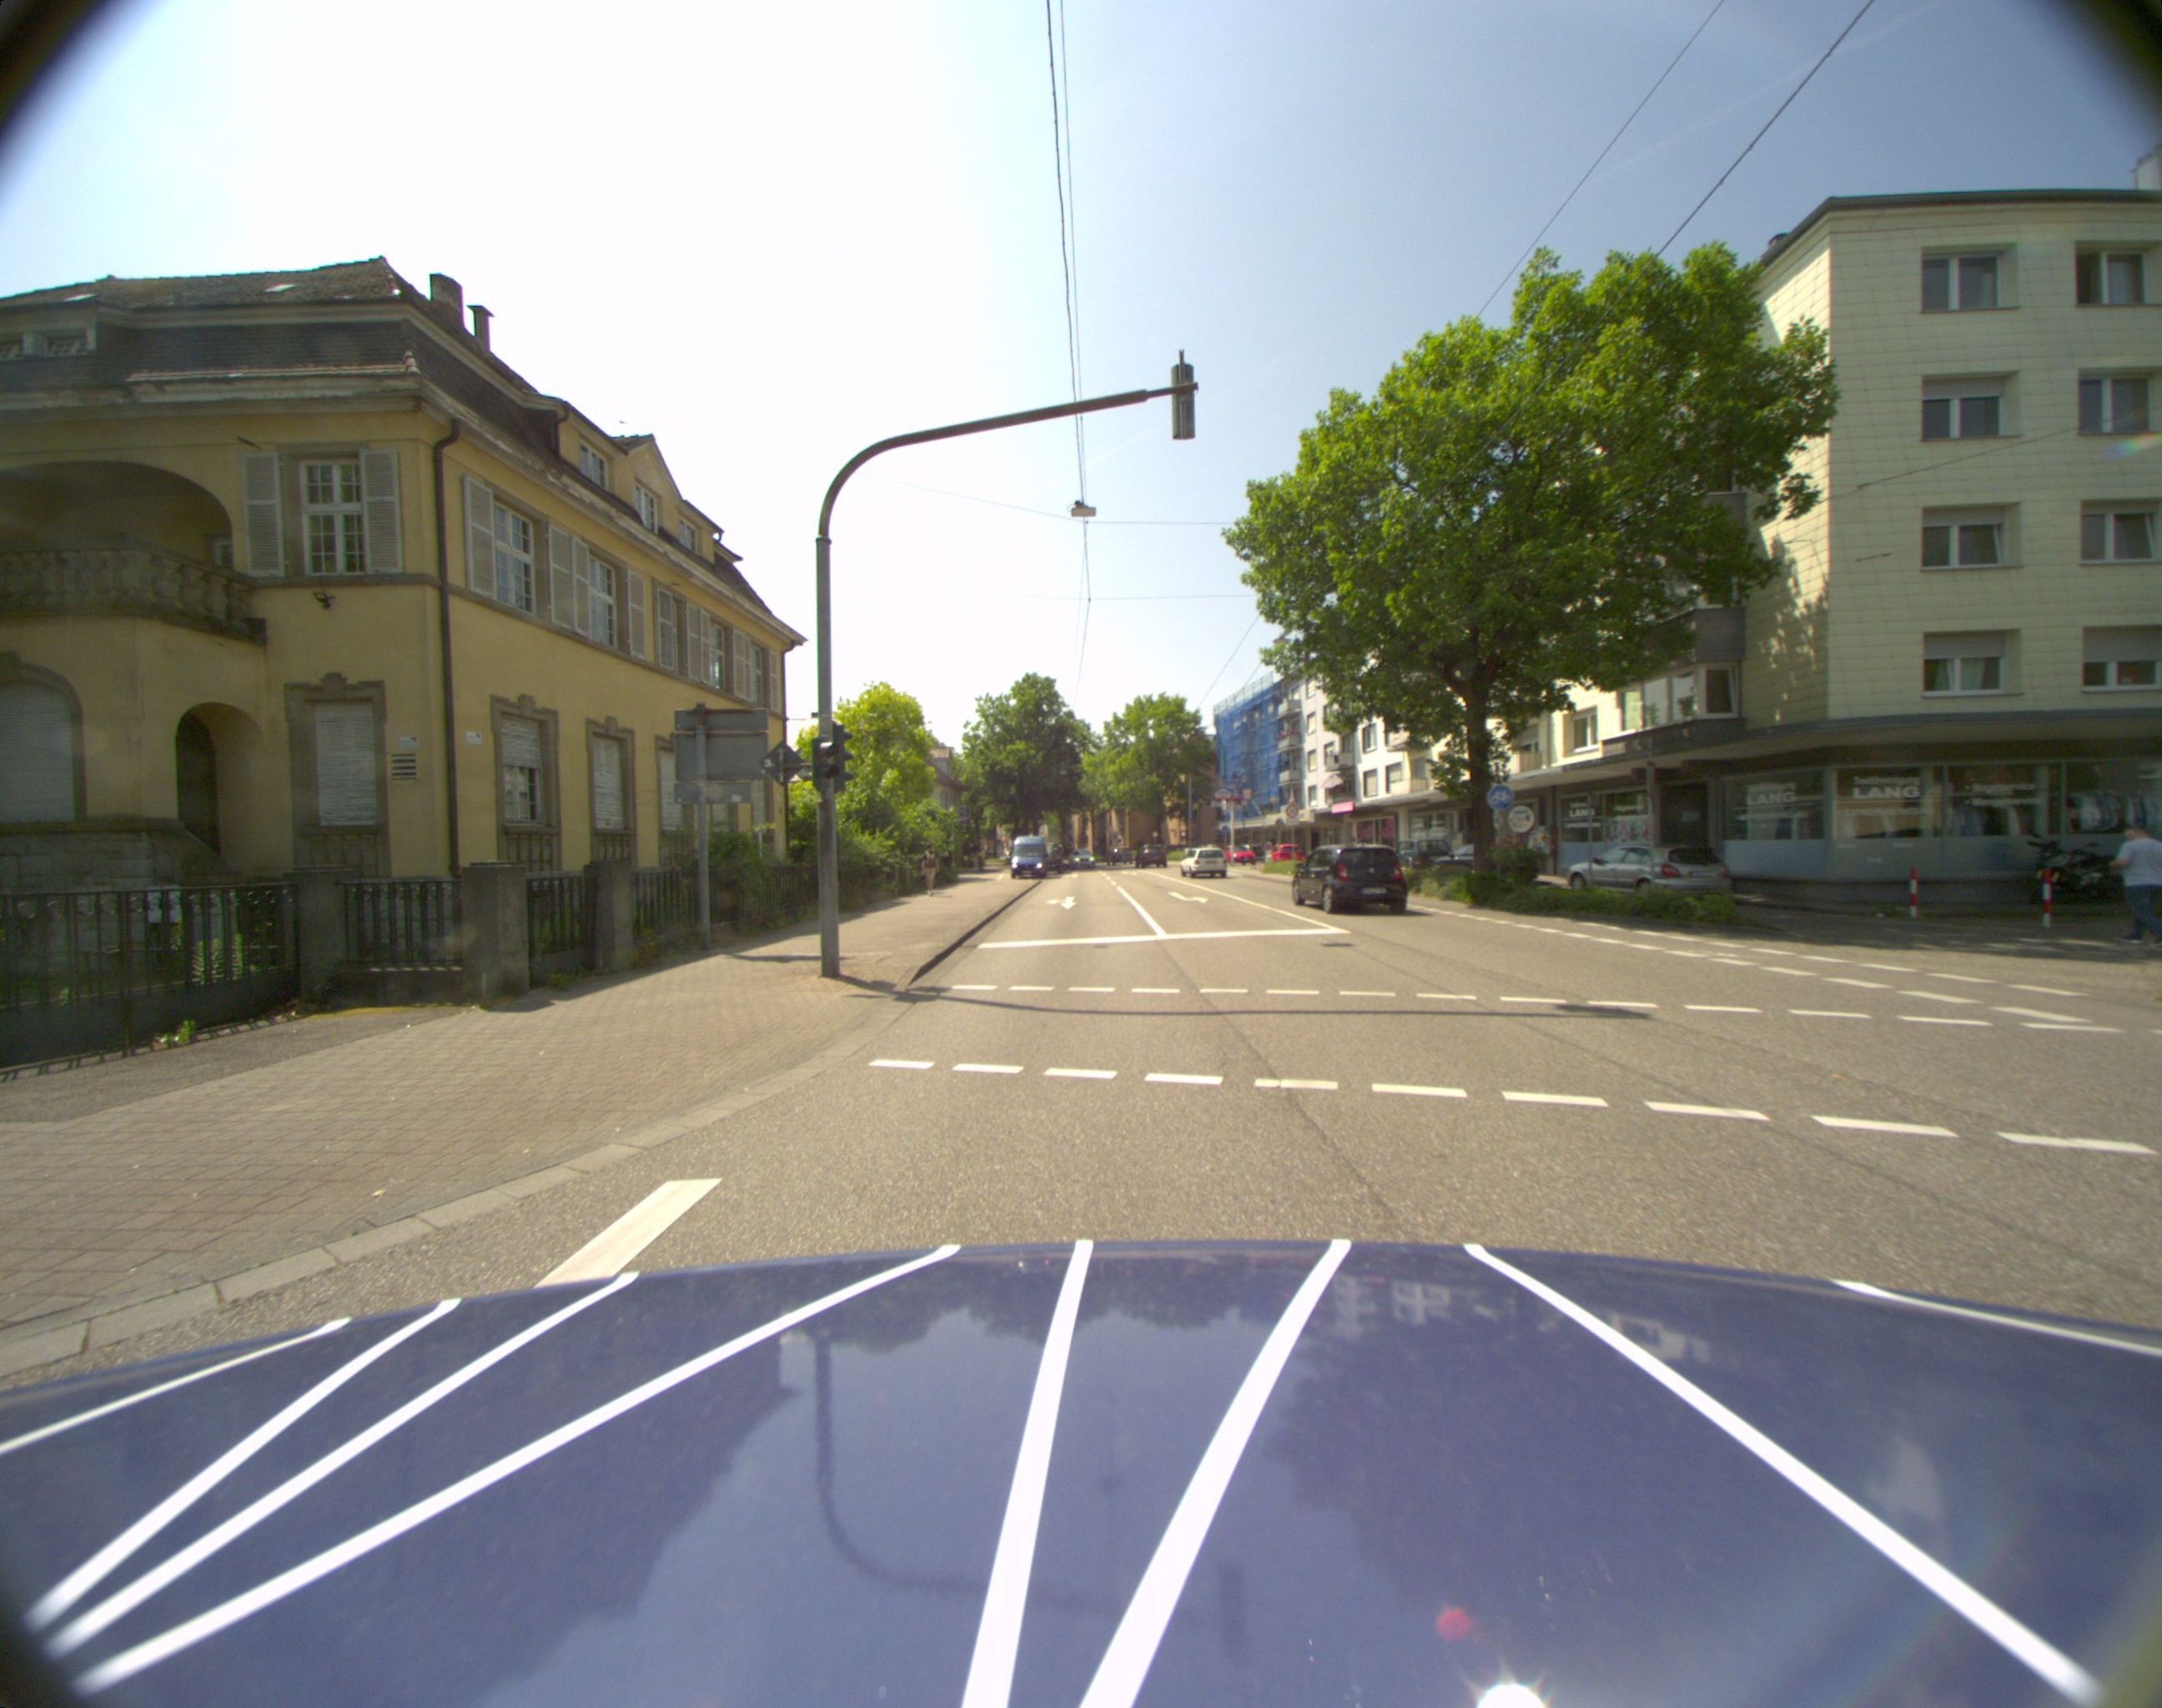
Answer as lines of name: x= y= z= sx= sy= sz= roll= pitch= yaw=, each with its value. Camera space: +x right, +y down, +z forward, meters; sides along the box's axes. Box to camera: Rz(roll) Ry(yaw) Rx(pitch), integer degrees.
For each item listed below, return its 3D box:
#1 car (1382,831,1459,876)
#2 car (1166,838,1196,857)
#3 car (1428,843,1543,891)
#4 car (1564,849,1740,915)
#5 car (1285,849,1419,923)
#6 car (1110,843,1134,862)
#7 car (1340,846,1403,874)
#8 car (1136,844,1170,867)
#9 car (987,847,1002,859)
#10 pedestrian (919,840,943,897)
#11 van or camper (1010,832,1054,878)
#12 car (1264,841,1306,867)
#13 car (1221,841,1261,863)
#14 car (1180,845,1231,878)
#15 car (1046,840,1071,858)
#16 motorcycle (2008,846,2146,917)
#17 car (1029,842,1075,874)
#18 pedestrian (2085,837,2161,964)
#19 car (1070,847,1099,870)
car: x=14.785 y=-0.035 z=33.297 sx=1.643 sy=1.828 sz=3.859 roll=-2 pitch=1 yaw=0
car: x=9.915 y=-0.617 z=75.704 sx=1.914 sy=1.795 sz=4.330 roll=-1 pitch=1 yaw=-7
car: x=14.432 y=0.392 z=27.424 sx=1.626 sy=1.560 sz=4.839 roll=-1 pitch=1 yaw=1
car: x=14.414 y=0.638 z=19.474 sx=1.586 sy=1.450 sz=3.939 roll=-1 pitch=1 yaw=1
car: x=5.944 y=0.648 z=17.140 sx=1.620 sy=1.447 sz=3.709 roll=1 pitch=0 yaw=-1
car: x=3.759 y=-0.167 z=70.691 sx=1.928 sy=1.598 sz=3.999 roll=-1 pitch=1 yaw=-1
car: x=14.756 y=0.251 z=38.815 sx=1.704 sy=1.279 sz=3.860 roll=-2 pitch=1 yaw=0
car: x=5.316 y=0.061 z=56.578 sx=1.985 sy=1.629 sz=4.225 roll=-1 pitch=1 yaw=-2
car: x=-13.000 y=-0.136 z=114.136 sx=1.828 sy=1.674 sz=3.995 roll=-3 pitch=1 yaw=-13
pedestrian: x=-5.086 y=0.478 z=25.855 sx=0.621 sy=1.907 sz=0.744 roll=-1 pitch=1 yaw=0
van or camper: x=-2.846 y=-0.008 z=45.848 sx=2.164 sy=2.567 sz=5.844 roll=-2 pitch=1 yaw=0
car: x=12.166 y=-0.024 z=45.470 sx=1.639 sy=1.460 sz=3.634 roll=-1 pitch=1 yaw=1
car: x=11.751 y=-0.157 z=56.124 sx=1.913 sy=1.511 sz=4.332 roll=-1 pitch=1 yaw=-2
car: x=6.156 y=0.322 z=38.057 sx=1.820 sy=1.509 sz=4.630 roll=-1 pitch=1 yaw=0
car: x=-3.102 y=-0.660 z=104.197 sx=2.323 sy=2.230 sz=4.755 roll=-4 pitch=1 yaw=-14
motorcycle: x=21.300 y=0.576 z=16.280 sx=1.919 sy=1.413 sz=0.714 roll=-2 pitch=3 yaw=2
car: x=-1.948 y=0.232 z=52.595 sx=1.997 sy=2.002 sz=4.598 roll=-2 pitch=1 yaw=12
pedestrian: x=15.329 y=0.643 z=10.948 sx=0.628 sy=1.750 sz=0.742 roll=-1 pitch=3 yaw=1
car: x=0.243 y=0.319 z=62.377 sx=1.999 sy=1.740 sz=4.443 roll=-3 pitch=1 yaw=-4
